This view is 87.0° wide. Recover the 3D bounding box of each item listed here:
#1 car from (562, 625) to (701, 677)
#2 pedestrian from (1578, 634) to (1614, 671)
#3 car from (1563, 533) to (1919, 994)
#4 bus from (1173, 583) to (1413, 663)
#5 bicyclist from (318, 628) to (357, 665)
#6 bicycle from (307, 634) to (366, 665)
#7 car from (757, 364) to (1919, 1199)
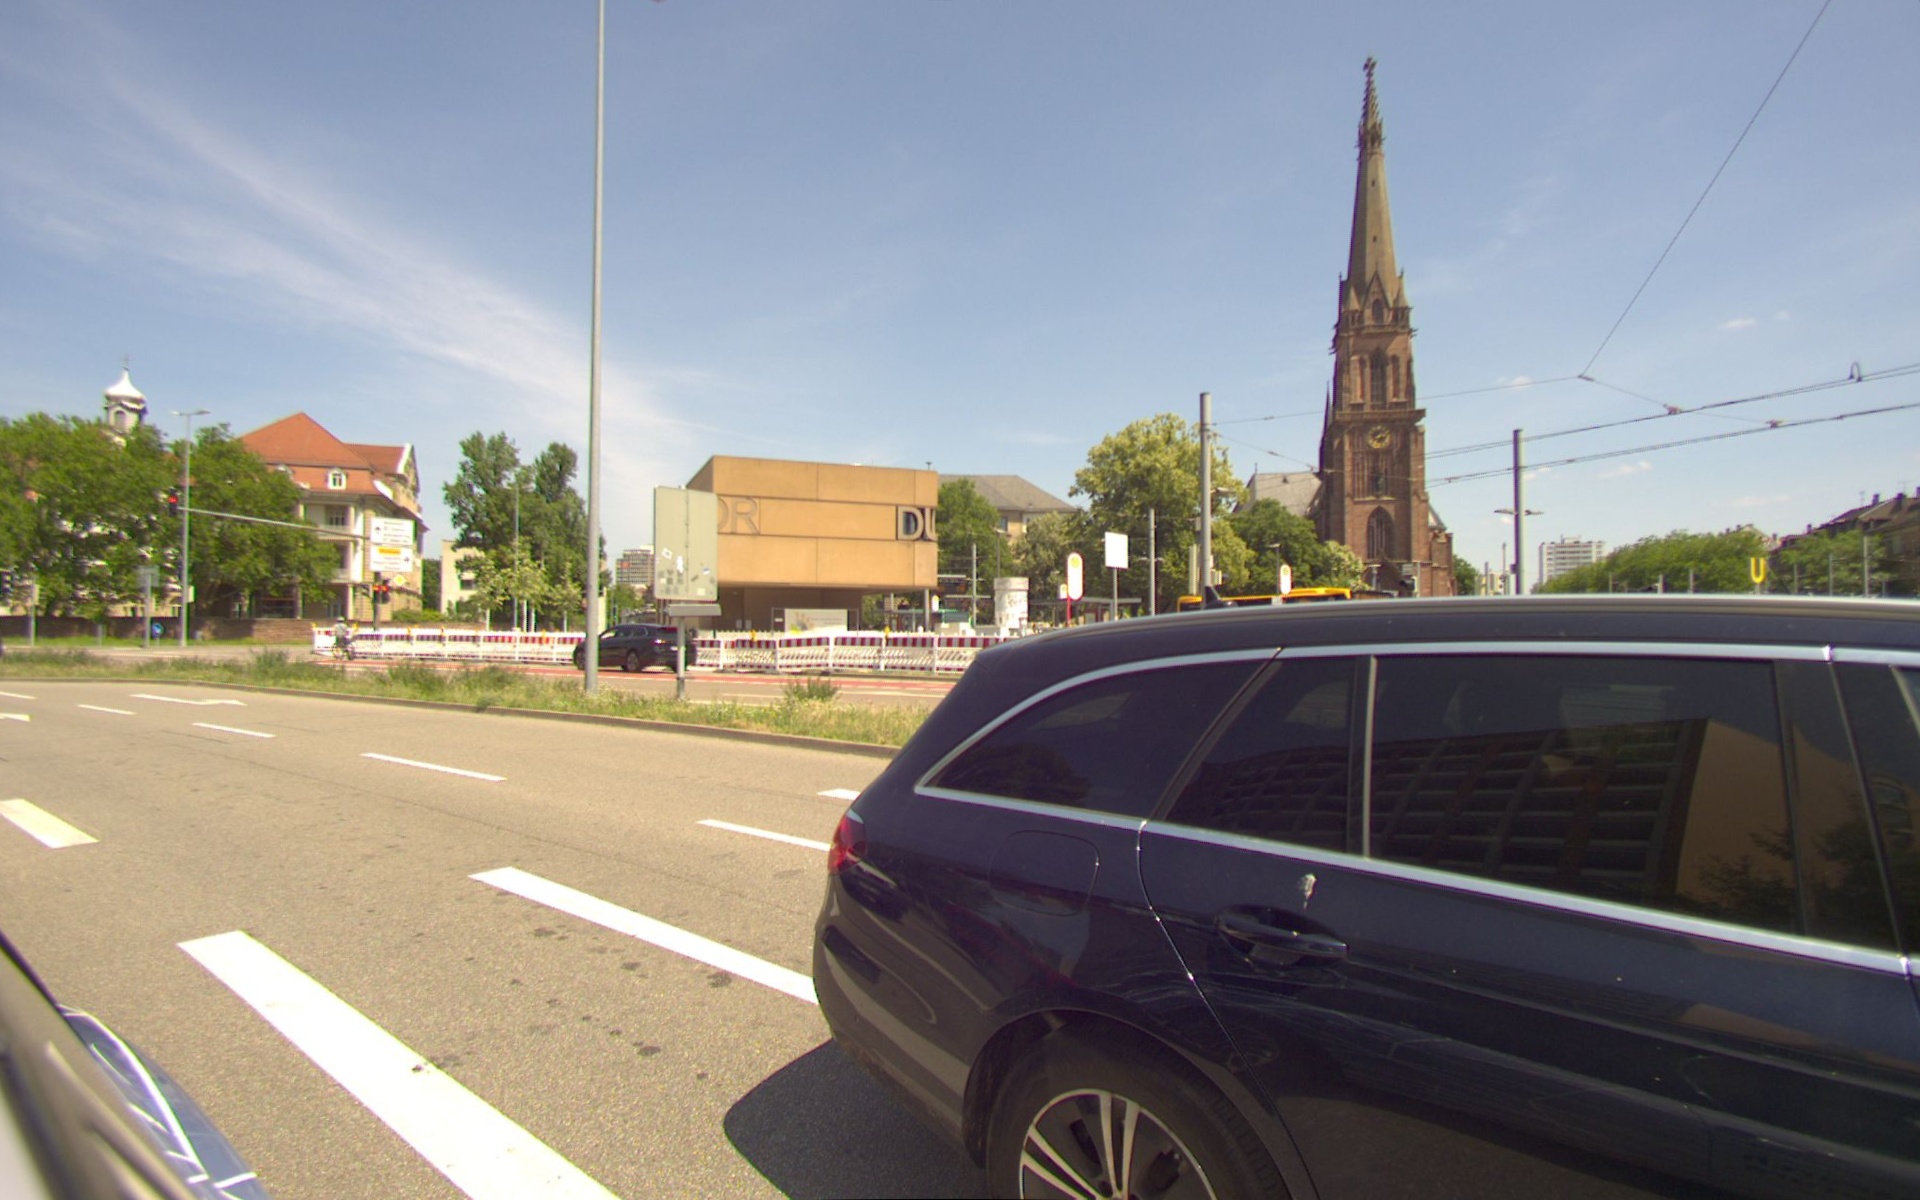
[{"bbox_3d":[-10.197,1.530,31.219,4.846,1.476,1.972,-2,-3,43],"label":"car"},{"bbox_3d":[23.744,1.947,37.812,0.518,1.344,1.001,1,-2,-17],"label":"pedestrian"},{"bbox_3d":[4.480,0.564,3.602,3.736,1.588,1.725,-2,-3,42],"label":"car"},{"bbox_3d":[14.161,1.083,44.936,2.807,3.039,12.259,1,-2,-22],"label":"bus"},{"bbox_3d":[-23.329,1.725,37.936,1.432,1.366,0.581,-1,0,26],"label":"bicyclist"},{"bbox_3d":[-23.363,1.851,37.917,2.220,1.080,0.871,-1,0,26],"label":"bicycle"},{"bbox_3d":[1.887,0.562,1.515,4.803,1.653,1.778,-2,-1,42],"label":"car"}]
